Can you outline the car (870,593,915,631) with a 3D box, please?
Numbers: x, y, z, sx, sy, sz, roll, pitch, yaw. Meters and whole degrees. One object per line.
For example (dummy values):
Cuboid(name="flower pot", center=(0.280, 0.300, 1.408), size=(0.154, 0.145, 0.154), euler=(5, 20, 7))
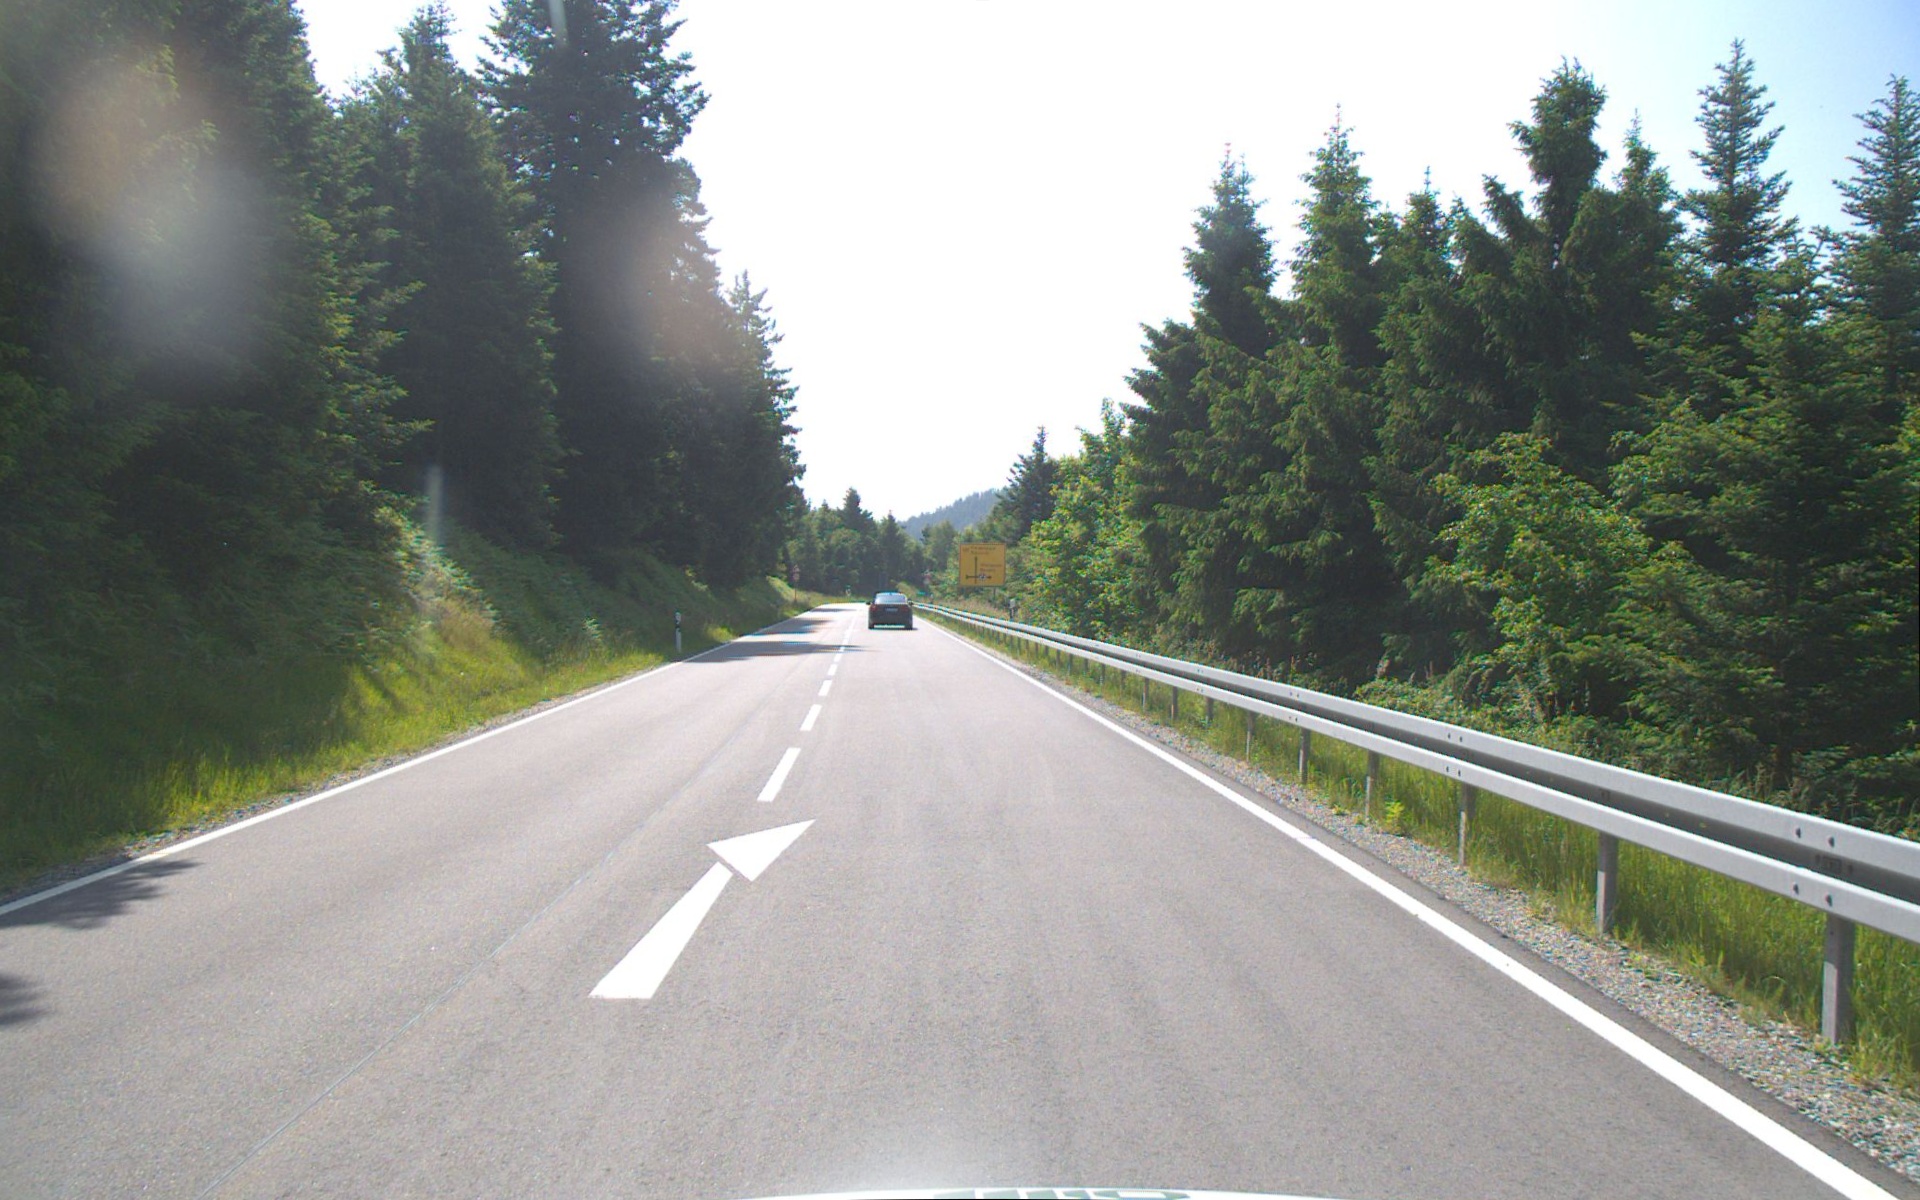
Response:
Cuboid(name="car", center=(-2.750, 0.480, 67.047), size=(1.741, 1.467, 3.706), euler=(-1, 0, -3))
